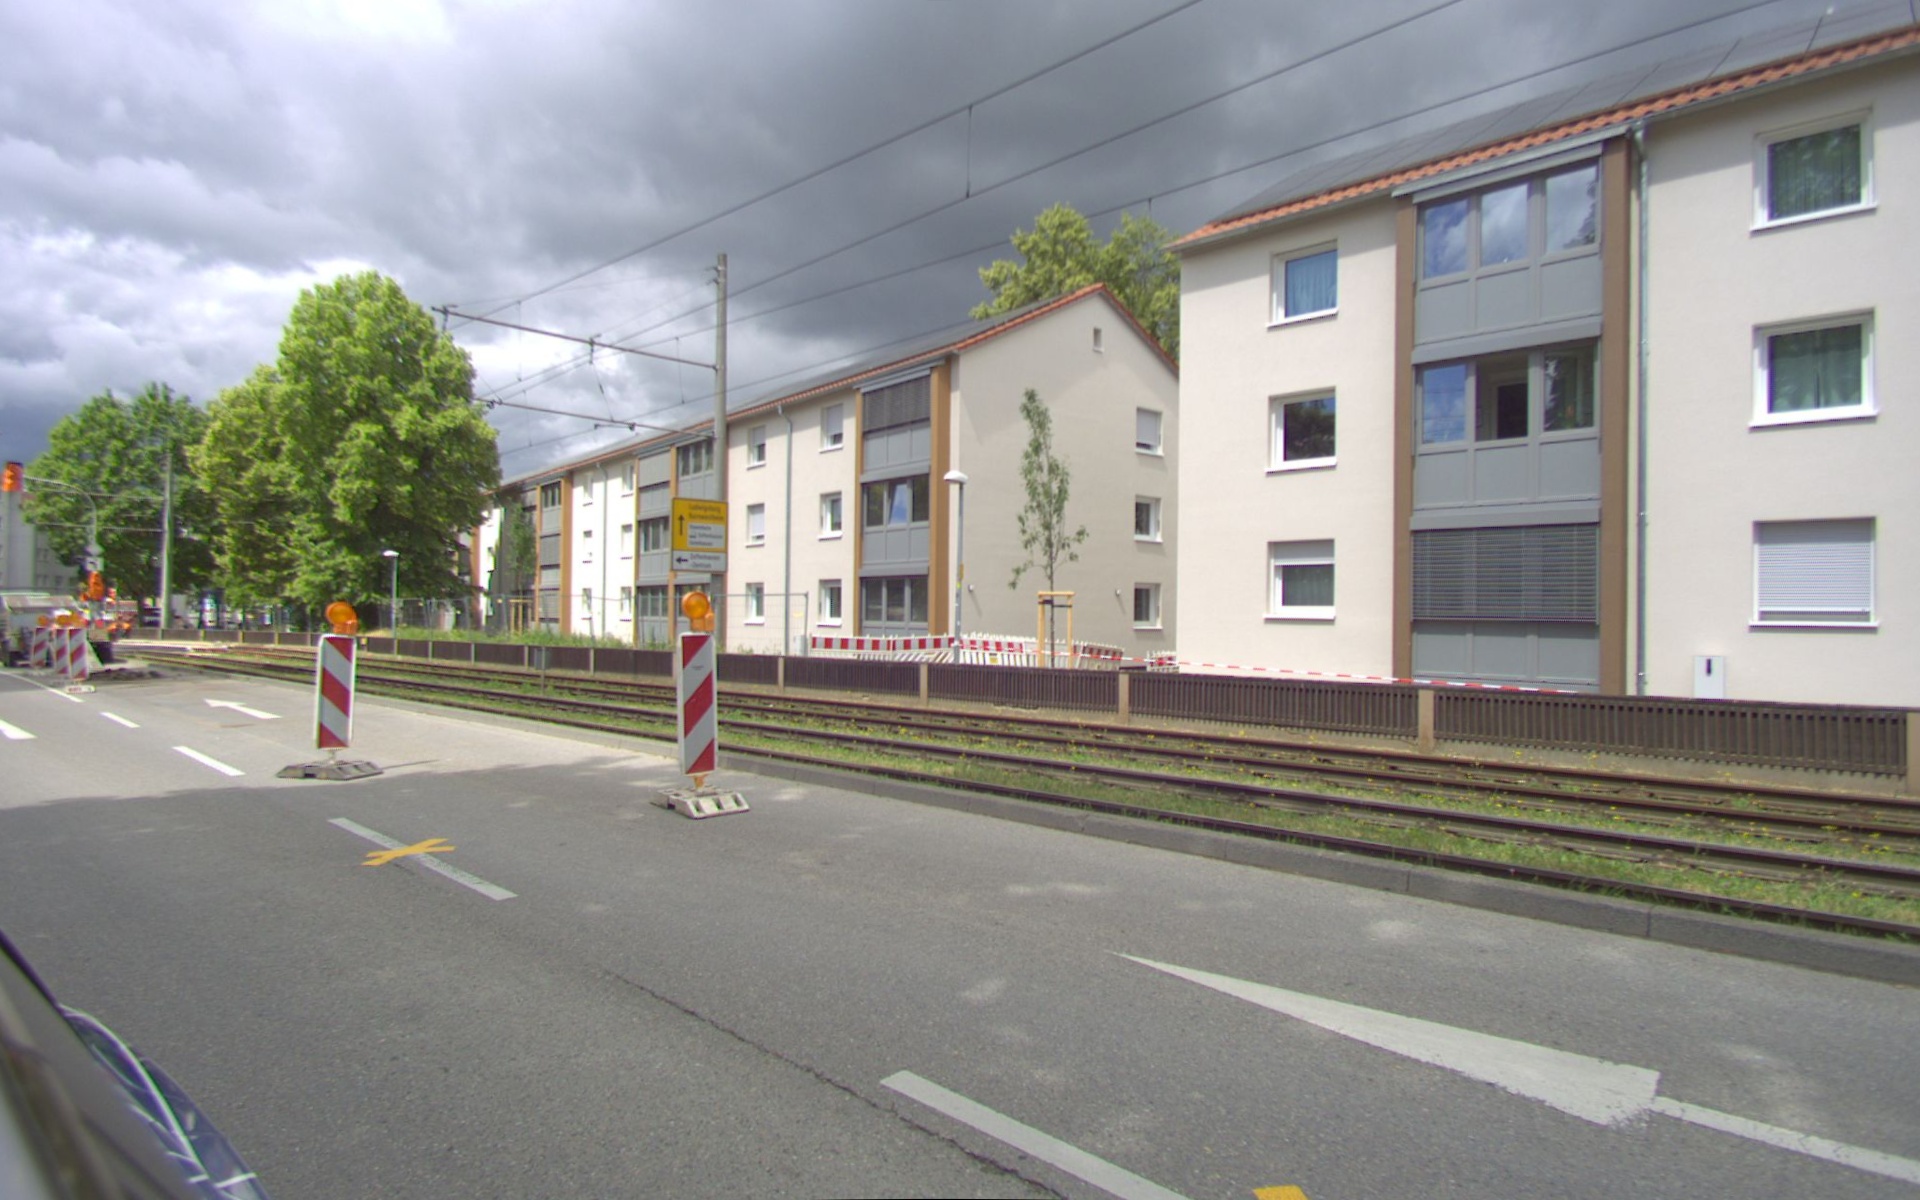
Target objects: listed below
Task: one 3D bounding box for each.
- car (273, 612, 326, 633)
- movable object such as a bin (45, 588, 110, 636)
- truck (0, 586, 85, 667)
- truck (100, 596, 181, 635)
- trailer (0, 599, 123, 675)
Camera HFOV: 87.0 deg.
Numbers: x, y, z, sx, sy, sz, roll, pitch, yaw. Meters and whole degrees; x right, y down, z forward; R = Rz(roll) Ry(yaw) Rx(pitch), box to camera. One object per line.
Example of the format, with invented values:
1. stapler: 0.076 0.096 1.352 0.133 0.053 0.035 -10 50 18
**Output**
1. car: -47.826 1.661 73.269 3.150 1.466 1.568 2 -2 -35
2. movable object such as a bin: -86.394 1.254 99.164 2.777 4.570 6.229 1 -2 -22
3. truck: -34.159 0.925 36.782 6.390 2.746 2.635 -1 -1 40
4. truck: -56.650 1.086 70.114 2.378 2.588 5.600 1 -1 -17
5. trailer: -29.375 1.102 32.627 6.243 2.230 2.635 -1 -1 40
